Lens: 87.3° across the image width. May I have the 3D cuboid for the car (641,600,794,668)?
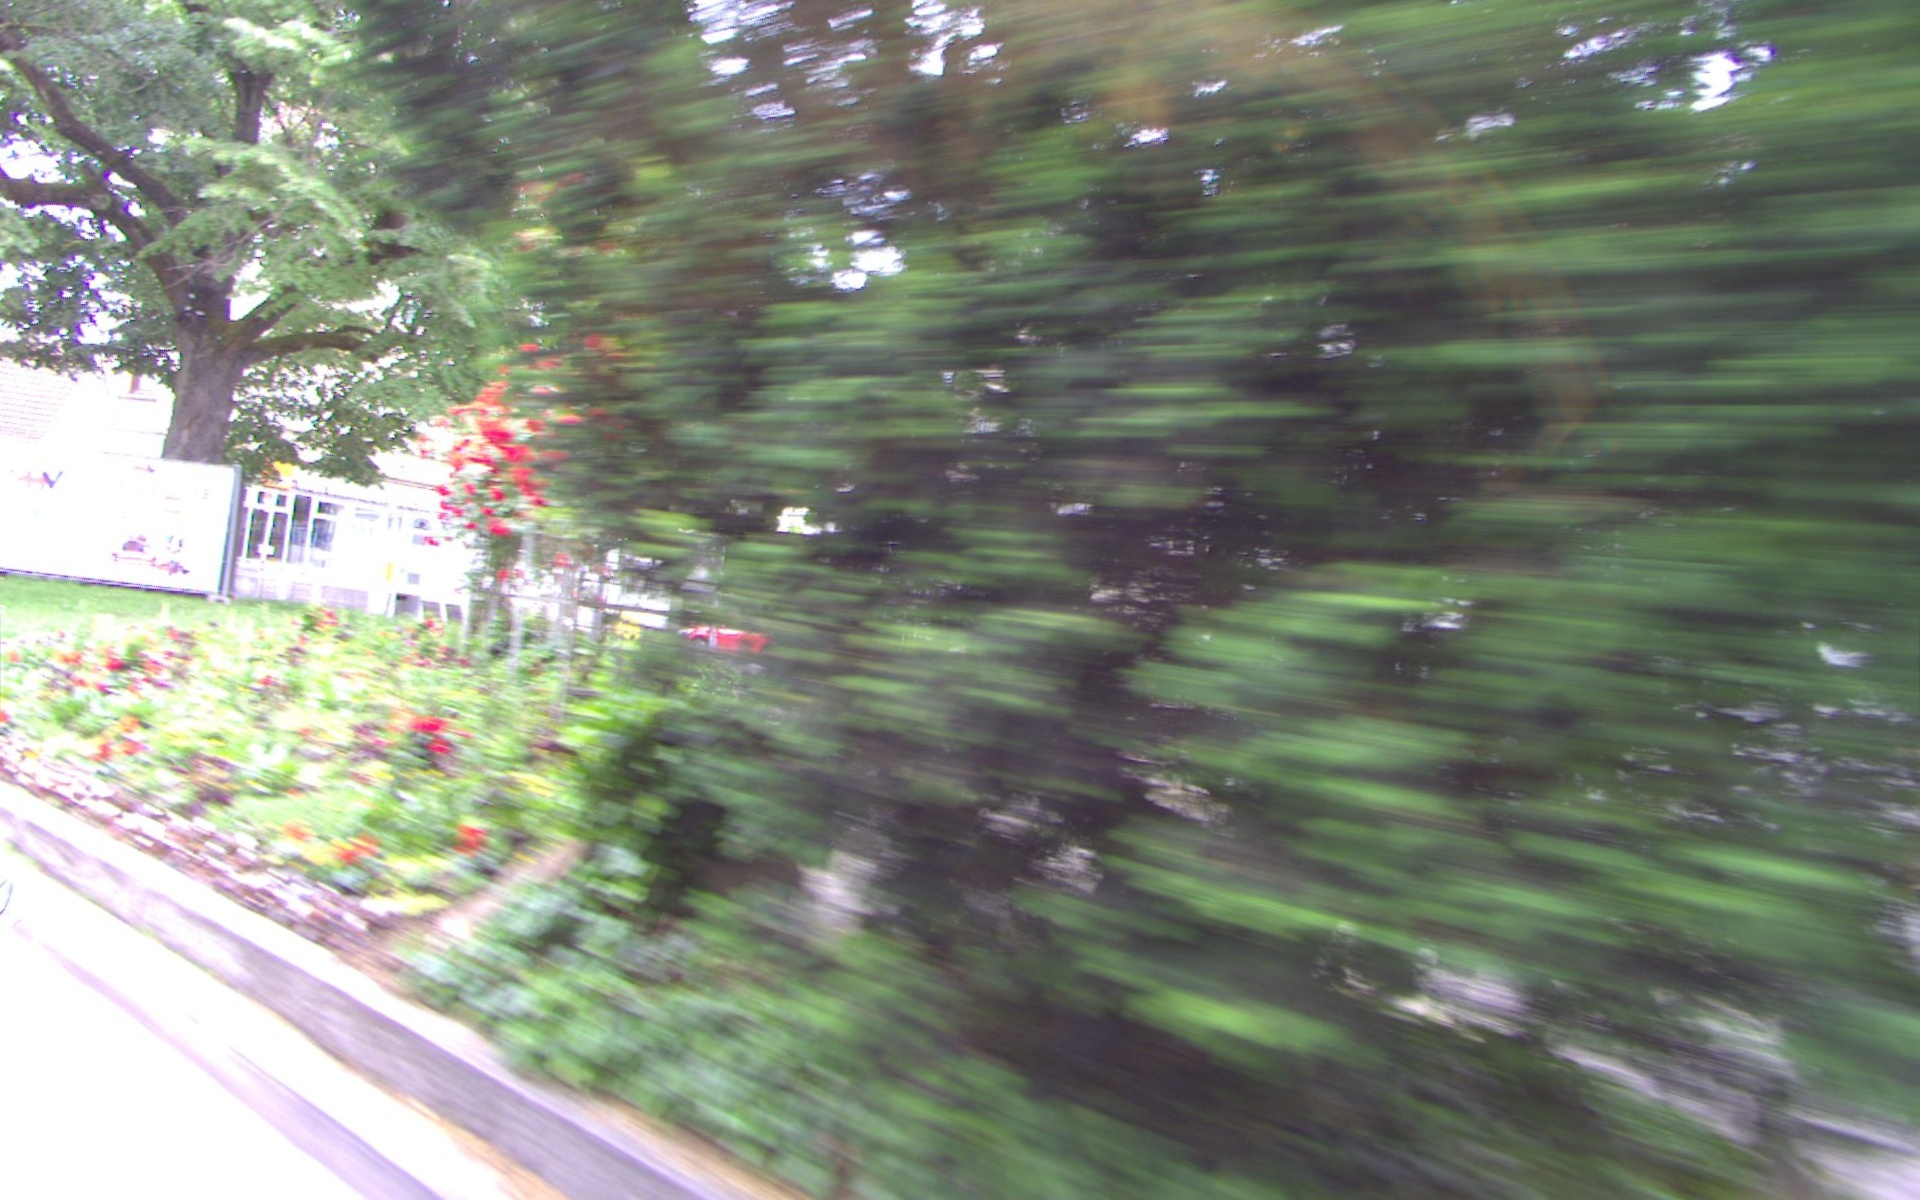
[{"bbox_3d":[-7.995,1.158,33.412,2.097,1.563,4.364,6,-5,45],"label":"car"}]

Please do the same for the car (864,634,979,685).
[{"bbox_3d":[-1.480,2.422,40.548,2.222,1.528,4.512,6,-3,36],"label":"car"}]

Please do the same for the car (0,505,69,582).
[{"bbox_3d":[-25.586,-1.543,27.041,1.817,1.811,4.180,9,-4,-36],"label":"car"}]

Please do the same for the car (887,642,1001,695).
[{"bbox_3d":[-0.565,2.579,37.657,3.984,1.532,1.762,9,-2,-43],"label":"car"}]

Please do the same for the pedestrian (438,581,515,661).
[{"bbox_3d":[-9.449,0.407,19.663,0.960,1.396,0.855,6,-3,37],"label":"pedestrian"}]
